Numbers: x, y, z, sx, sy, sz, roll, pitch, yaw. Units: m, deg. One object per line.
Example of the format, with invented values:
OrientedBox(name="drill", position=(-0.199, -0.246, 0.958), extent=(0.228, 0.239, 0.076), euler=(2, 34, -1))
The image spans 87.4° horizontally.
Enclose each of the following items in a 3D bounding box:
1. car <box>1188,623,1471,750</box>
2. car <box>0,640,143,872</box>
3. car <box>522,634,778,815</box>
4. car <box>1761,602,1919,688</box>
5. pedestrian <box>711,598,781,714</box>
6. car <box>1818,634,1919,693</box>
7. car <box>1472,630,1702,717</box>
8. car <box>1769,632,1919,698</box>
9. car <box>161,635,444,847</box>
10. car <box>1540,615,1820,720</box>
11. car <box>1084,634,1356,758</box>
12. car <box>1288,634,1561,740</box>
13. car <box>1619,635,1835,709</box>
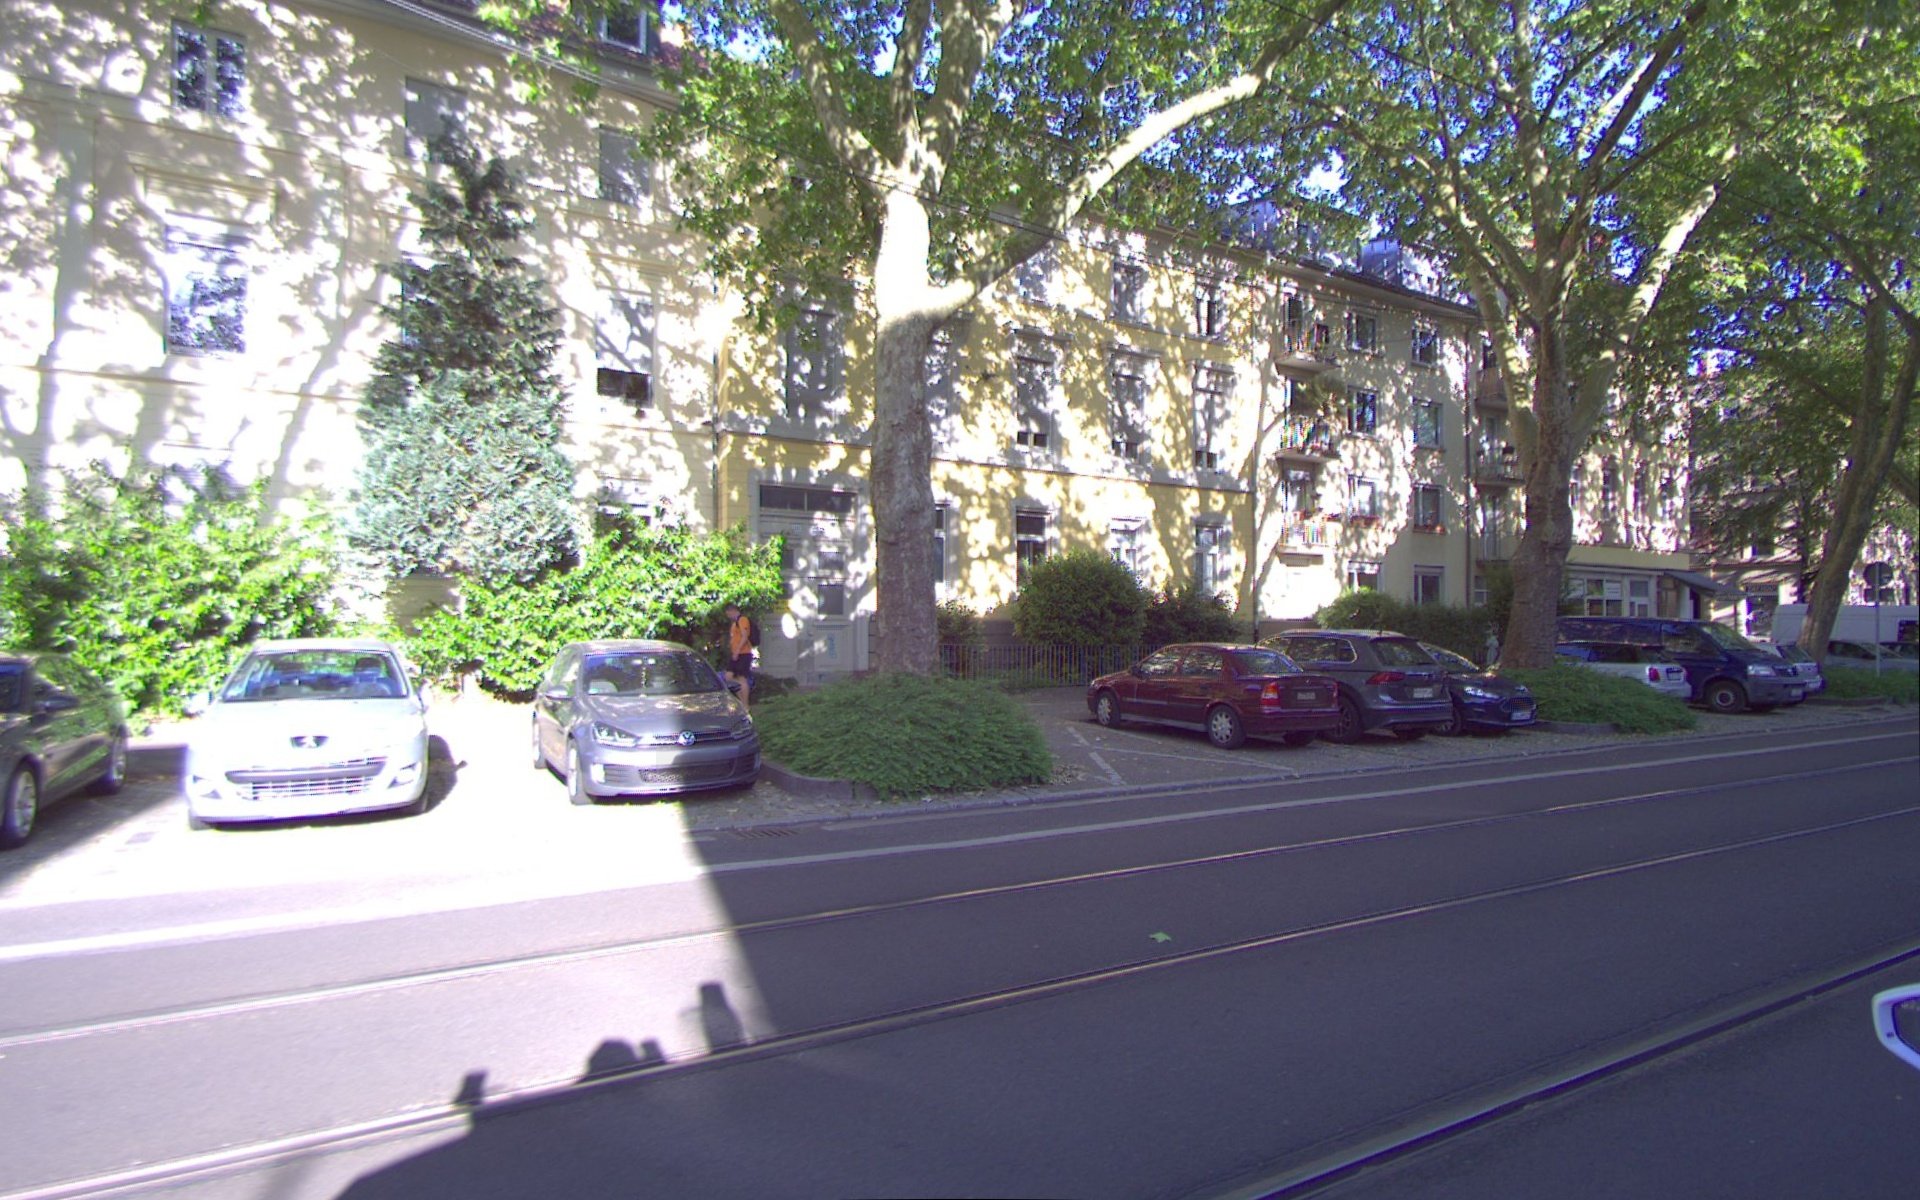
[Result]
OrientedBox(name="car", position=(5.726, 1.252, 16.053), extent=(1.857, 1.648, 3.975), euler=(2, 0, -30))
OrientedBox(name="car", position=(-7.989, 1.072, 7.833), extent=(1.825, 1.350, 3.902), euler=(2, 0, -29))
OrientedBox(name="car", position=(-3.419, 1.118, 10.567), extent=(1.784, 1.481, 3.902), euler=(1, -2, -29))
OrientedBox(name="car", position=(28.411, 1.334, 29.999), extent=(2.429, 2.441, 6.597), euler=(1, 0, -29))
OrientedBox(name="pedestrian", position=(-3.580, 0.918, 16.789), extent=(0.830, 1.874, 0.858), euler=(1, -1, -37))
OrientedBox(name="car", position=(26.631, 1.789, 27.929), extent=(1.659, 1.518, 3.897), euler=(2, 0, -32))
OrientedBox(name="car", position=(13.008, 1.468, 21.045), extent=(1.726, 1.518, 3.716), euler=(2, 0, -30))
OrientedBox(name="car", position=(23.979, 1.679, 26.406), extent=(1.657, 1.518, 3.903), euler=(1, 0, -28))
OrientedBox(name="car", position=(-5.916, 1.089, 9.350), extent=(1.779, 1.472, 3.903), euler=(1, -2, -30))
OrientedBox(name="car", position=(15.694, 1.379, 22.202), extent=(1.956, 1.949, 4.655), euler=(1, 0, -29))
OrientedBox(name="car", position=(3.737, 1.311, 15.093), extent=(1.728, 1.461, 3.902), euler=(2, 0, -29))
OrientedBox(name="car", position=(7.786, 1.375, 17.180), extent=(1.798, 1.440, 3.899), euler=(2, 0, -31))
OrientedBox(name="car", position=(17.928, 1.626, 23.643), extent=(1.618, 1.449, 3.716), euler=(2, 0, -30))
